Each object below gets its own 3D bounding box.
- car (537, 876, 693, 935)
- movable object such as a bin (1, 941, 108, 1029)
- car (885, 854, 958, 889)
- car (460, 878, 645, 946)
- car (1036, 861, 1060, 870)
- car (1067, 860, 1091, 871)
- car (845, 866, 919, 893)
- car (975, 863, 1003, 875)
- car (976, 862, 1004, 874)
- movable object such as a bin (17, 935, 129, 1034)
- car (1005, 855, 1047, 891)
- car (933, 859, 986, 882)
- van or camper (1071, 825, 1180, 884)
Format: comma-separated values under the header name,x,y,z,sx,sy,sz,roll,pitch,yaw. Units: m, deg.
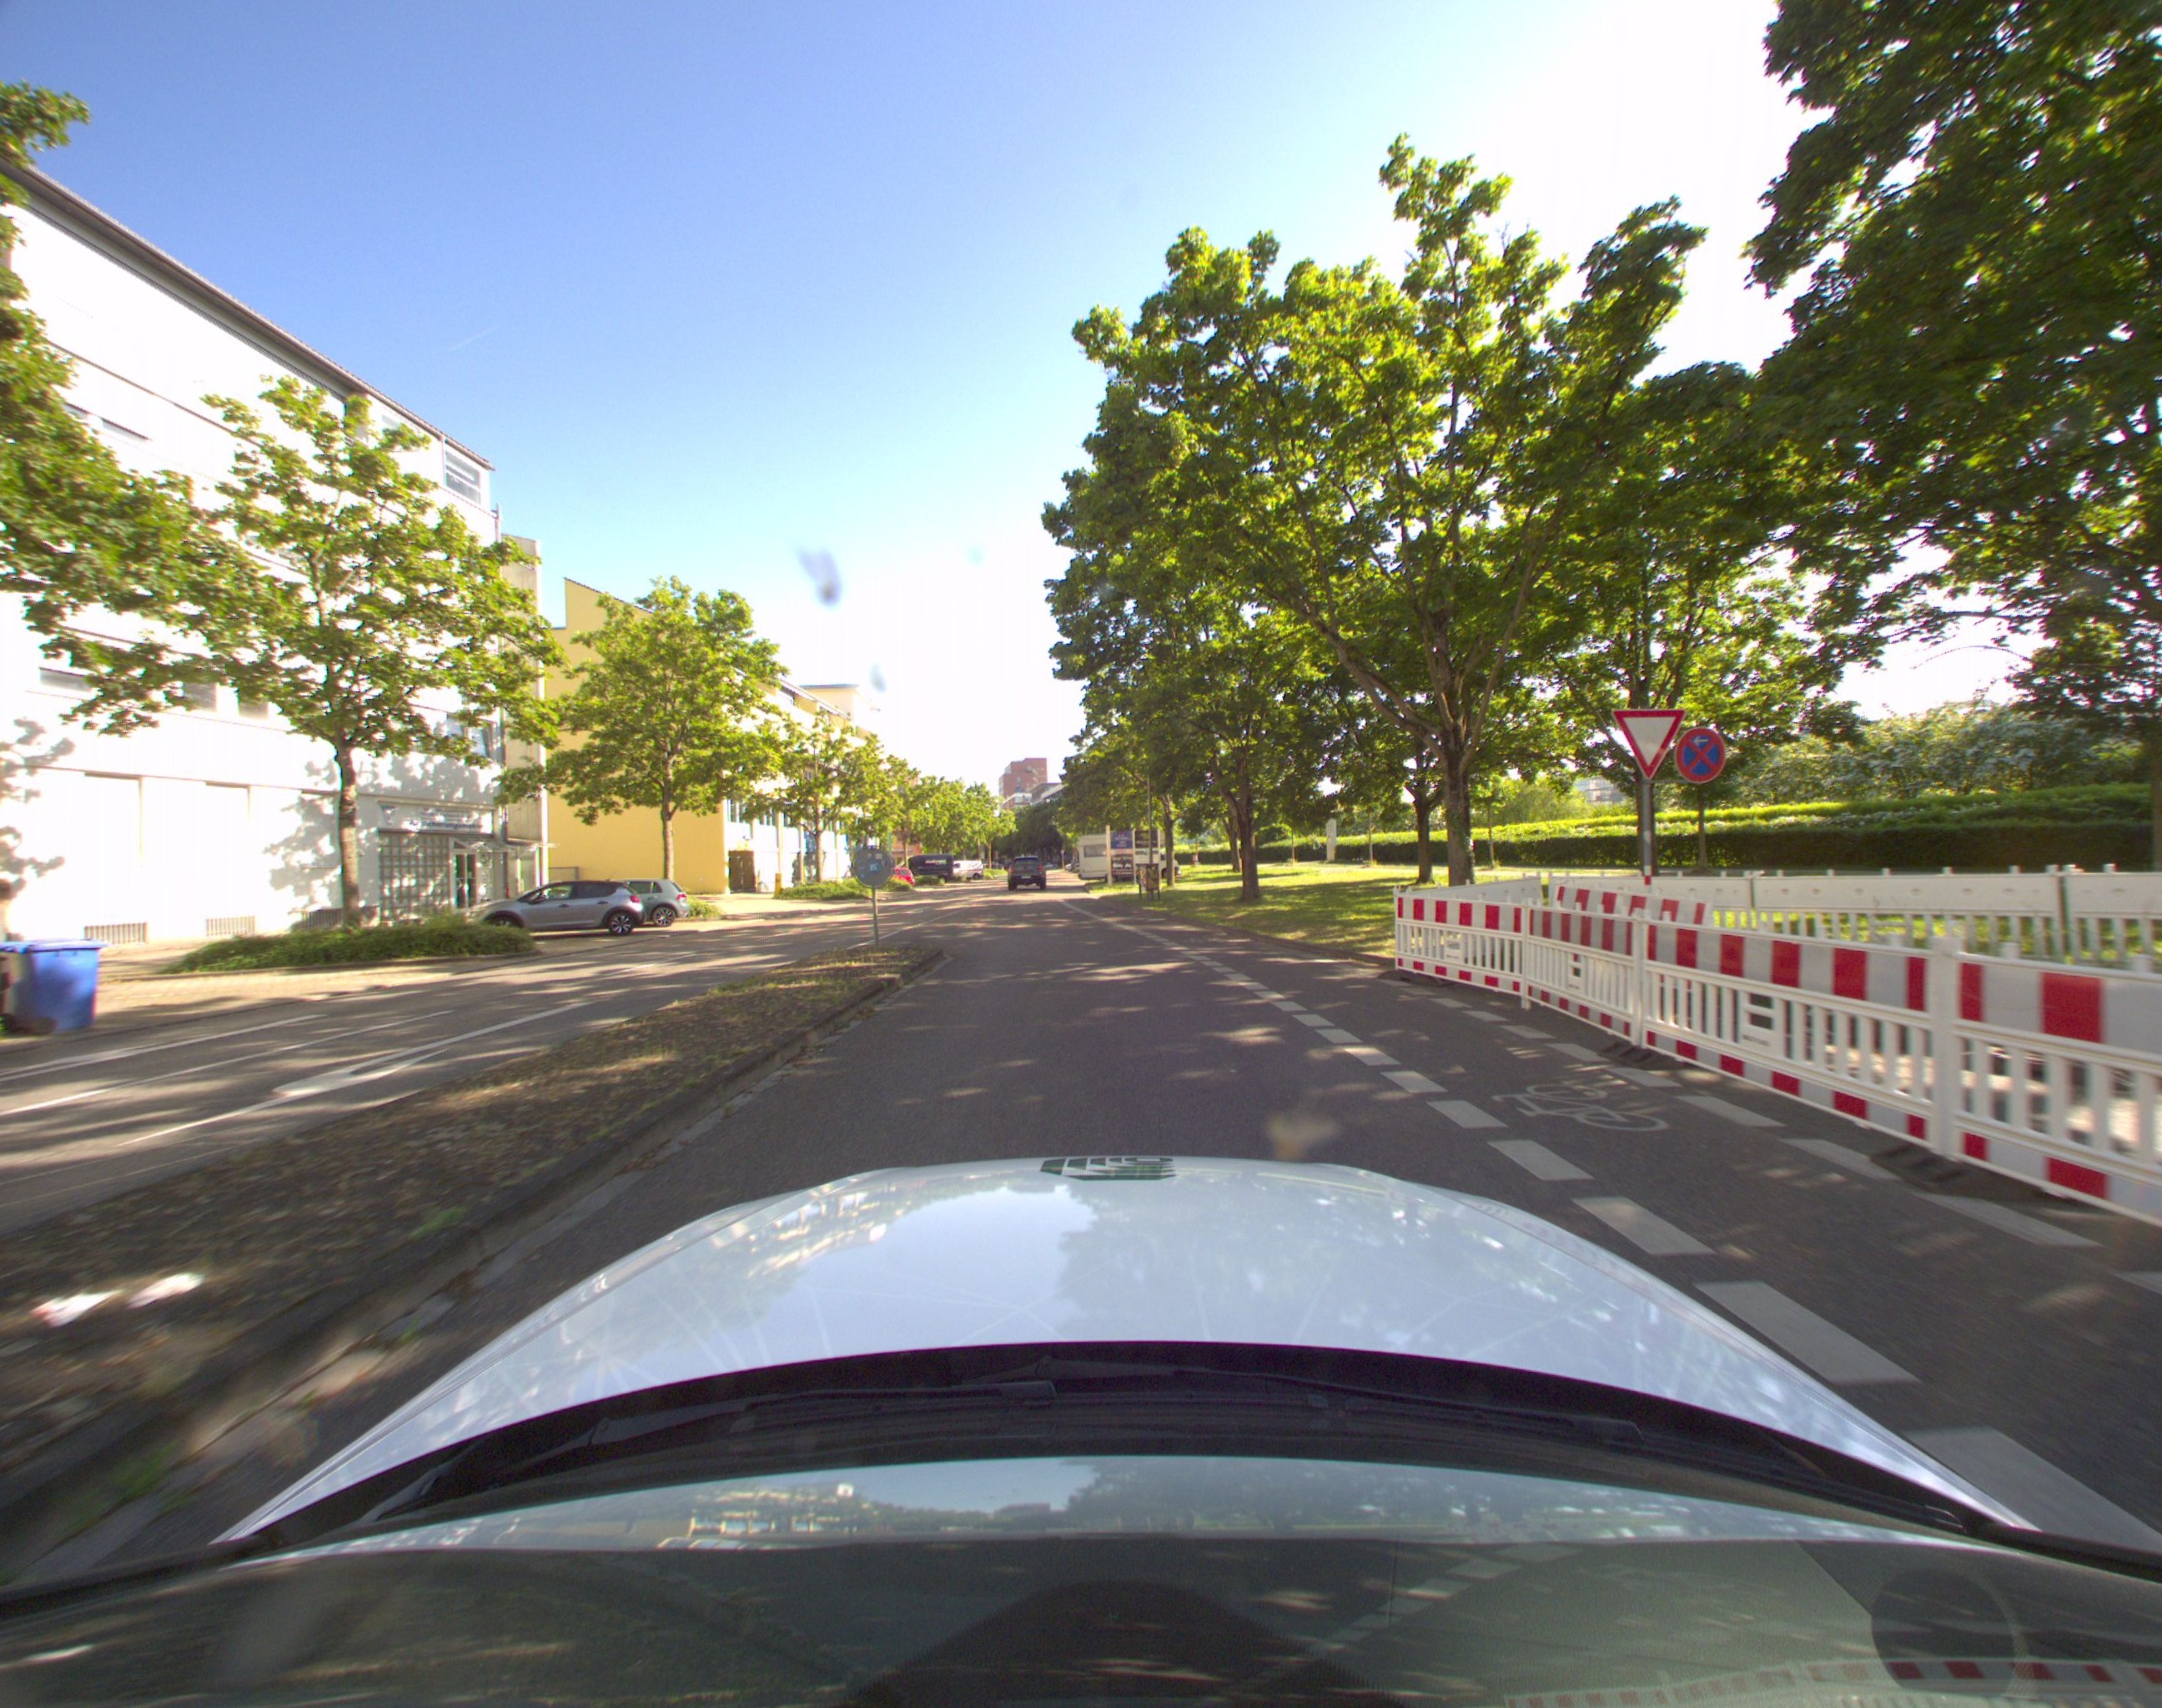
name,x,y,z,sx,sy,sz,roll,pitch,yaw
car,-13.835,1.473,24.316,3.899,1.510,1.810,-1,-1,-32
movable object such as a bin,-12.599,1.593,10.009,0.511,0.976,0.640,-1,-1,10
car,-12.665,1.362,64.558,5.288,2.545,1.969,-2,-1,-26
car,-13.666,1.442,21.284,3.900,1.510,1.809,-1,-1,-32
car,-5.859,2.033,145.023,3.946,1.397,1.511,-4,0,-9
car,-0.249,1.657,114.999,3.235,1.277,1.515,-4,0,-2
car,-13.186,1.648,53.898,4.429,1.552,1.906,-2,-1,-25
car,-13.160,2.118,116.659,3.883,1.365,1.405,-4,0,-9
car,-12.861,2.012,114.915,3.883,1.365,1.405,-4,0,-9
movable object such as a bin,-11.744,1.503,9.502,0.511,1.047,0.640,-1,-1,10
car,-3.135,1.006,45.466,2.130,1.835,4.931,-2,0,-6
car,-12.377,1.705,82.776,4.920,2.083,1.964,-2,-1,-35
van or camper,2.524,0.022,47.792,6.062,2.928,2.574,-4,-1,-1
